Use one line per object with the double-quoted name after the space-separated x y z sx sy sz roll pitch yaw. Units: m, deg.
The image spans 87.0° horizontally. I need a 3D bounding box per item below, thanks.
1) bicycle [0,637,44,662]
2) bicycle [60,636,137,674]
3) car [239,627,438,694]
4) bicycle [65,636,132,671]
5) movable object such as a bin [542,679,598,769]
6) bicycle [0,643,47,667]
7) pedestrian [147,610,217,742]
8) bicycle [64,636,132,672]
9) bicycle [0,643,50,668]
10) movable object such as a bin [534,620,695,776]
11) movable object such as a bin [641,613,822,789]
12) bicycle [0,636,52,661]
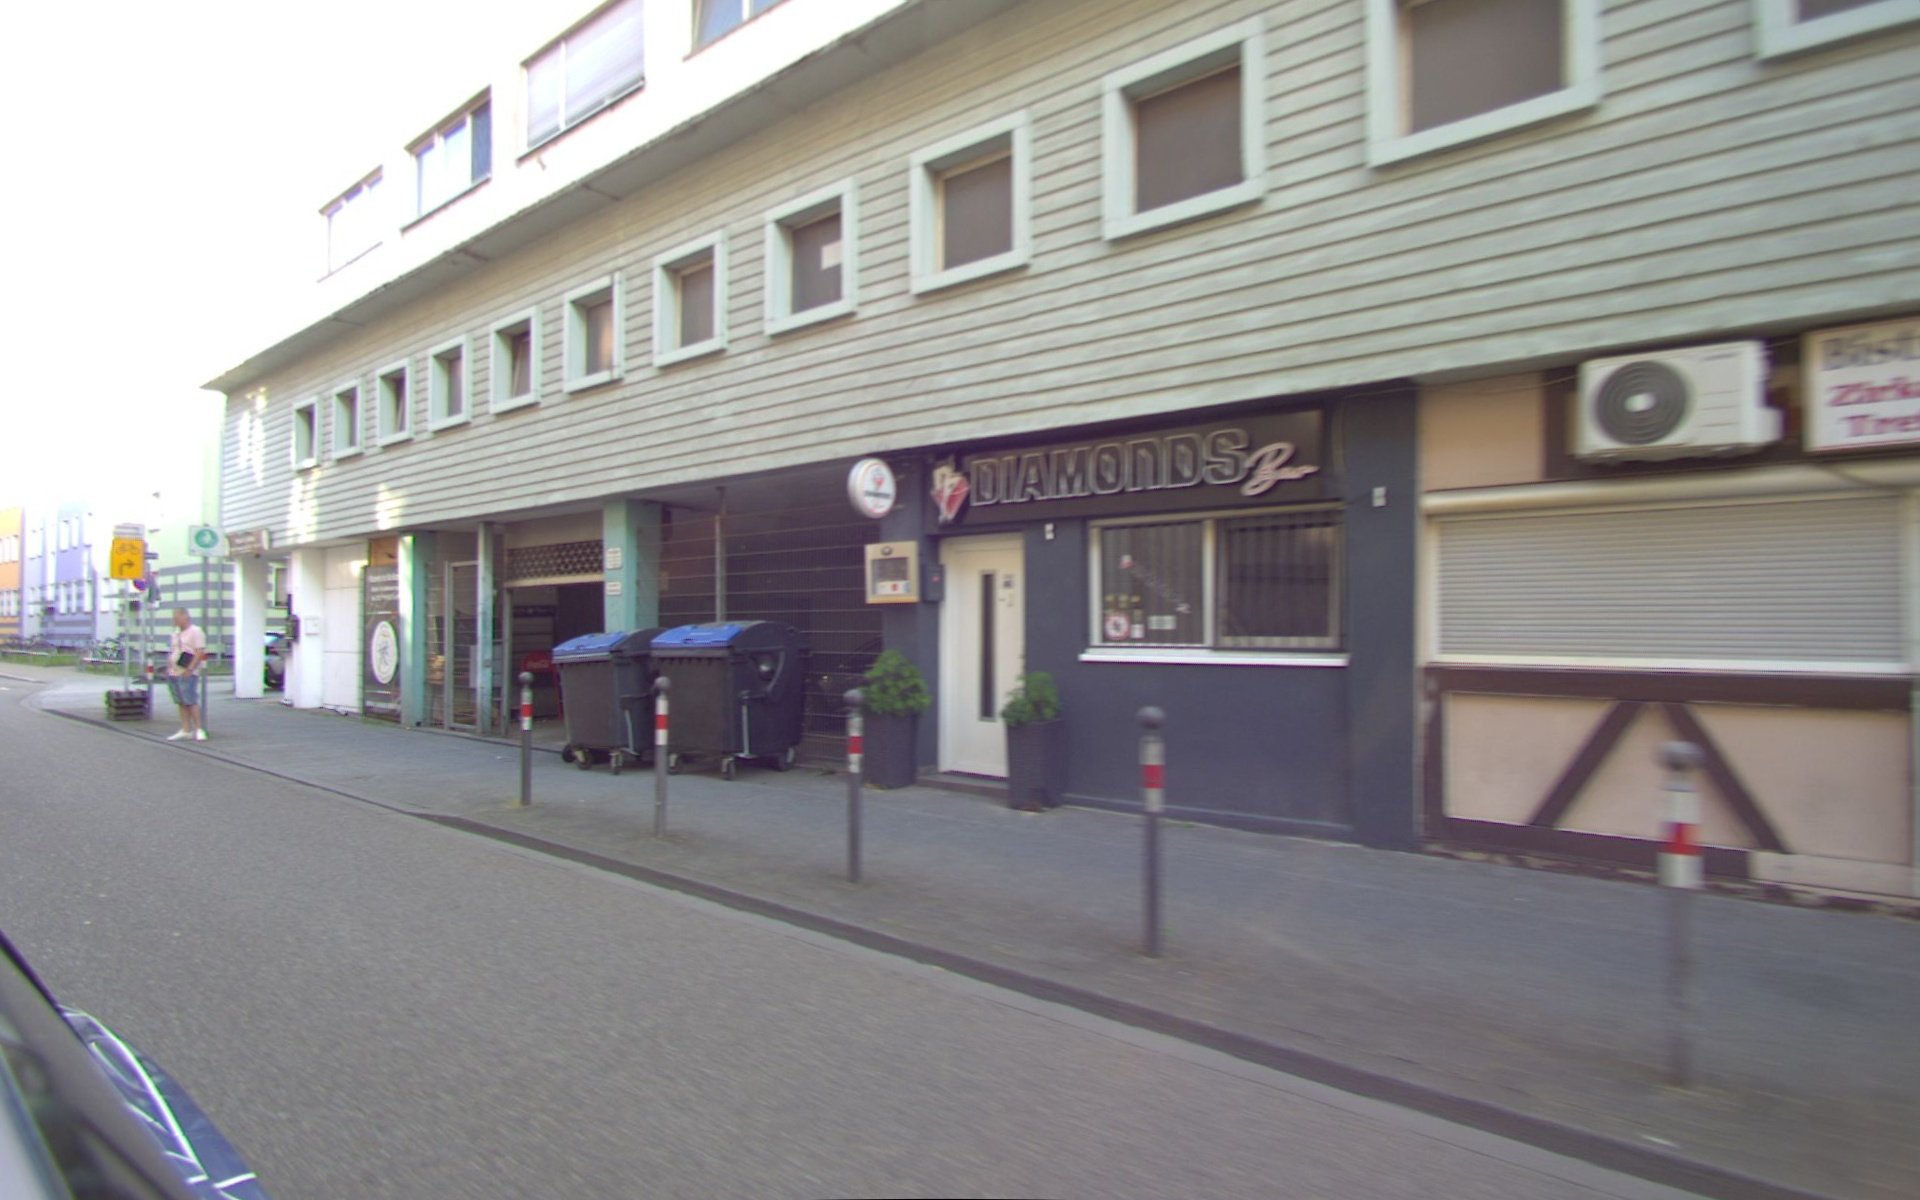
-39.619 2.066 42.406 0.388 0.953 1.781 -2 1 38 "bicycle"
-28.733 1.812 33.777 0.748 1.109 1.799 -2 1 38 "bicycle"
-15.445 1.463 25.331 1.690 1.531 3.895 -2 -3 37 "car"
-29.951 1.844 35.202 0.387 1.109 1.721 -2 1 31 "bicycle"
-4.324 1.359 11.217 0.467 0.949 0.389 -2 -3 39 "movable object such as a bin"
-41.120 2.405 44.288 0.388 0.953 1.637 -2 1 38 "bicycle"
-10.197 0.981 13.274 0.624 1.682 0.489 -2 -1 26 "pedestrian"
-29.685 1.834 34.886 0.387 1.109 1.721 -2 1 31 "bicycle"
-40.778 2.403 44.067 0.388 0.953 1.637 -2 1 38 "bicycle"
-3.595 0.987 10.522 1.473 1.483 0.959 -3 -4 39 "movable object such as a bin"
-2.193 0.924 9.718 1.340 1.532 1.111 -3 -4 39 "movable object such as a bin"
-39.933 2.047 43.126 0.388 0.953 1.781 -2 1 38 "bicycle"
